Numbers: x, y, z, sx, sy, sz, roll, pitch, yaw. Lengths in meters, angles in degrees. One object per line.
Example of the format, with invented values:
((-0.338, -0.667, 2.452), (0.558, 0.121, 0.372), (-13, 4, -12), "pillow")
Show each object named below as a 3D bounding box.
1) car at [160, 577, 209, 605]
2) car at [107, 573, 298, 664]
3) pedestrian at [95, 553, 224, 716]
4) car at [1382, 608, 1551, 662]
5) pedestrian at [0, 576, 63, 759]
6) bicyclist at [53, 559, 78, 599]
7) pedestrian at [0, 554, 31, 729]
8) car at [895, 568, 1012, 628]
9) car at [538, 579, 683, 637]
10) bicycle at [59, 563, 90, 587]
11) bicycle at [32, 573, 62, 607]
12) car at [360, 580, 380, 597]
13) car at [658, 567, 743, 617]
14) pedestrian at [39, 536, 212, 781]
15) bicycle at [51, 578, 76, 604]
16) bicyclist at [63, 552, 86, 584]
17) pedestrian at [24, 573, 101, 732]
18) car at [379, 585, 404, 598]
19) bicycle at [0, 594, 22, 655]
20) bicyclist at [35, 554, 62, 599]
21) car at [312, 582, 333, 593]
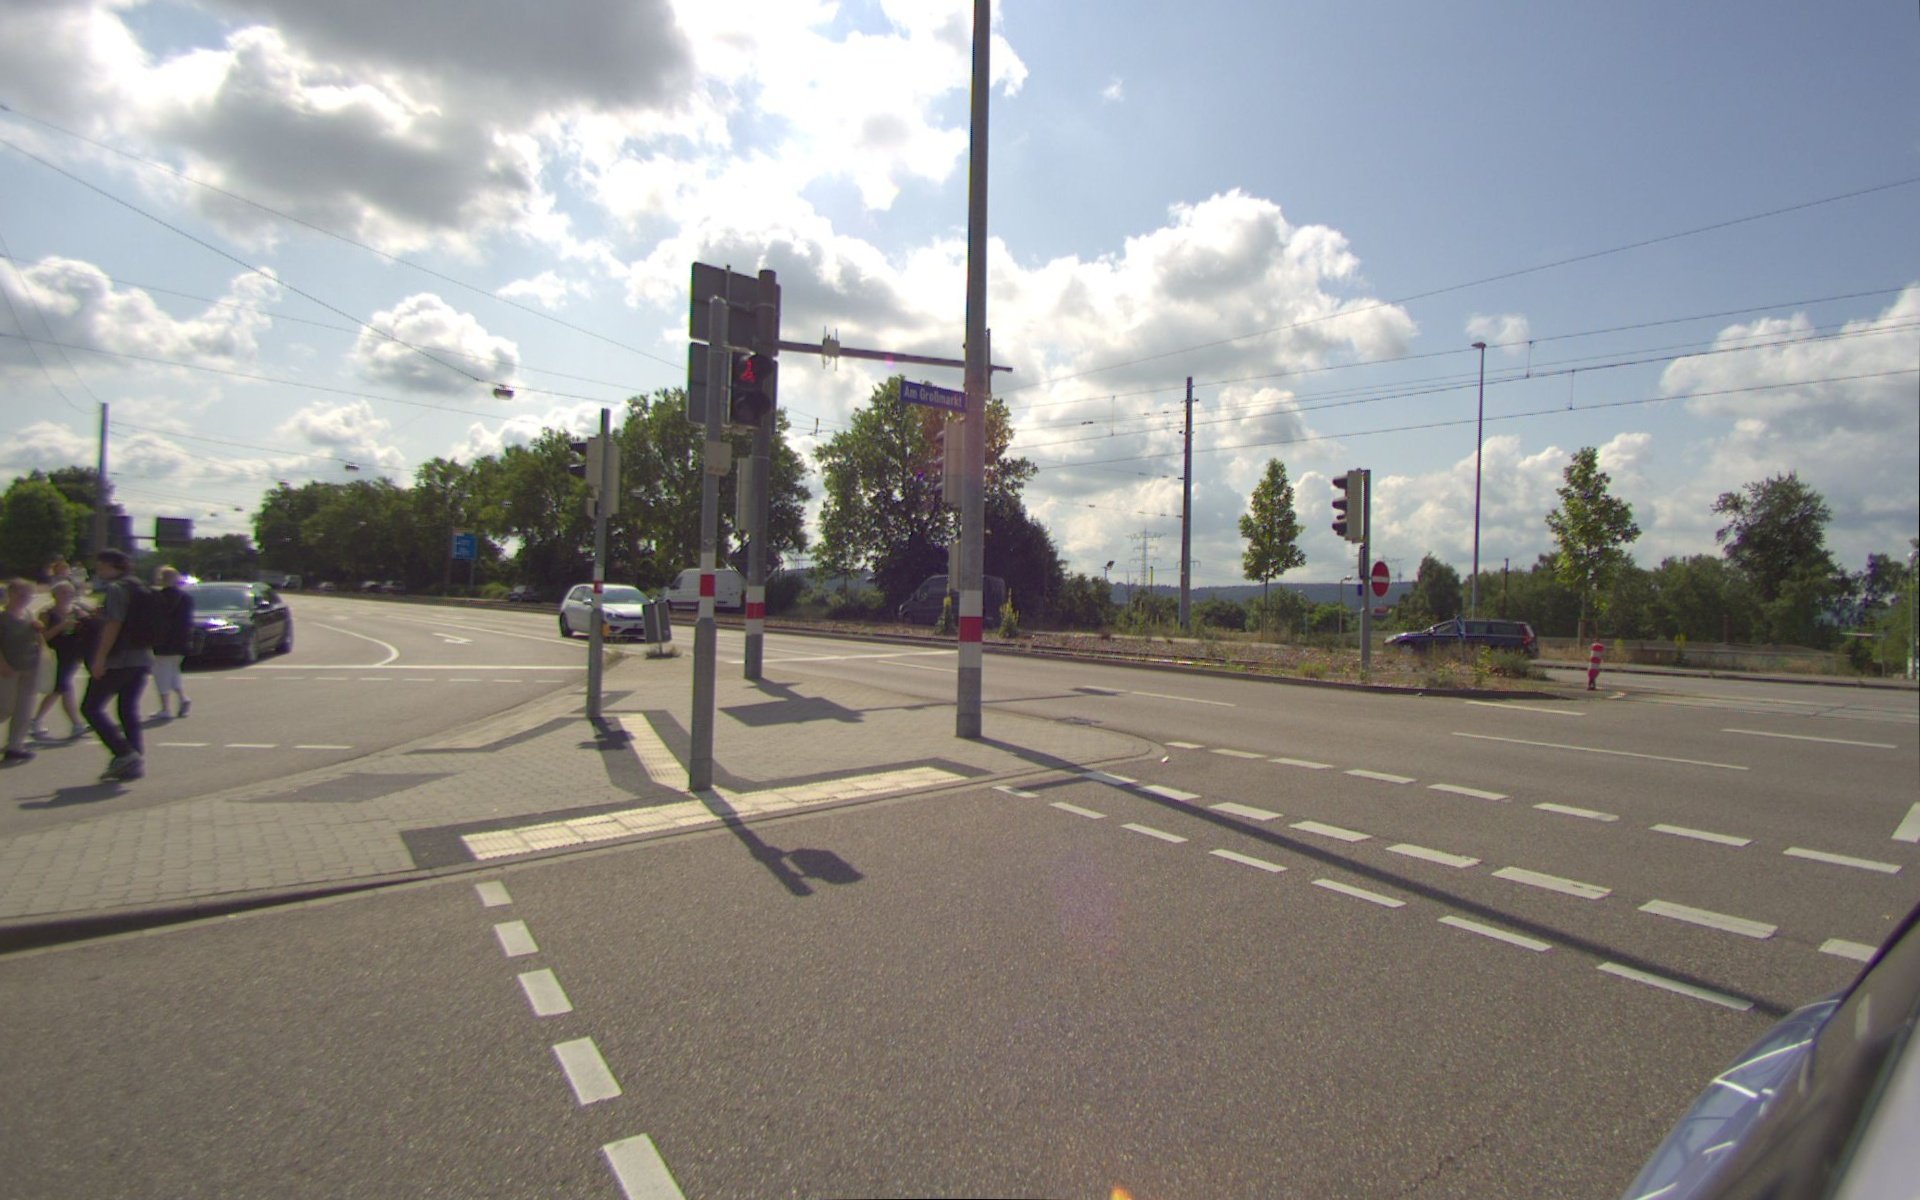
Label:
((-39.618, -0.447, 51.682), (1.719, 1.377, 4.241), (0, 0, -41), "car")
((-14.017, 0.296, 19.018), (1.876, 1.502, 4.210), (1, 0, -23), "car")
((-9.094, 0.373, 11.539), (0.848, 1.787, 0.865), (1, 1, -13), "pedestrian")
((16.855, 1.154, 33.784), (4.756, 1.528, 1.939), (2, -2, 38), "car")
((-8.284, 0.576, 8.860), (0.552, 1.544, 0.464), (0, -2, 32), "pedestrian")
((-34.548, -0.815, 39.081), (0.639, 1.494, 0.742), (3, -3, -40), "bicyclist")
((-10.022, 0.411, 10.299), (0.686, 1.749, 0.690), (0, 0, -29), "pedestrian")
((-0.378, -0.126, 48.516), (5.652, 2.638, 1.962), (2, -3, 41), "car")
((-9.413, 0.181, 27.067), (1.980, 1.431, 4.487), (1, 0, -43), "car")
((-38.215, -1.065, 43.684), (0.585, 0.973, 1.989), (2, -2, -30), "bicycle")
((-33.097, -0.347, 36.701), (0.609, 1.180, 1.504), (2, -2, -36), "bicycle")
((-72.971, -1.410, 125.180), (1.772, 1.884, 3.592), (2, -2, -36), "car")
((-14.628, -0.500, 56.883), (5.574, 2.523, 1.928), (3, -1, 45), "car")
((-6.571, 0.435, 8.017), (0.744, 1.825, 0.823), (1, 0, -13), "pedestrian")
((-34.541, -0.334, 39.018), (0.654, 0.973, 1.694), (1, 0, -40), "bicycle")
((-38.179, -1.368, 43.639), (0.581, 1.343, 0.688), (2, -2, -29), "bicyclist")
((-8.991, 0.506, 10.153), (0.460, 1.543, 0.586), (1, 0, -32), "pedestrian")
((-65.286, -1.008, 116.196), (1.610, 1.383, 3.735), (3, -2, -42), "car")
((-17.871, 0.397, 18.092), (1.663, 1.061, 0.507), (3, -1, -1), "bicycle")
((-33.096, -0.845, 36.745), (0.609, 1.555, 0.697), (2, -2, -36), "bicyclist")
((-91.244, -1.743, 144.912), (1.902, 1.383, 3.735), (3, -2, -43), "car")
